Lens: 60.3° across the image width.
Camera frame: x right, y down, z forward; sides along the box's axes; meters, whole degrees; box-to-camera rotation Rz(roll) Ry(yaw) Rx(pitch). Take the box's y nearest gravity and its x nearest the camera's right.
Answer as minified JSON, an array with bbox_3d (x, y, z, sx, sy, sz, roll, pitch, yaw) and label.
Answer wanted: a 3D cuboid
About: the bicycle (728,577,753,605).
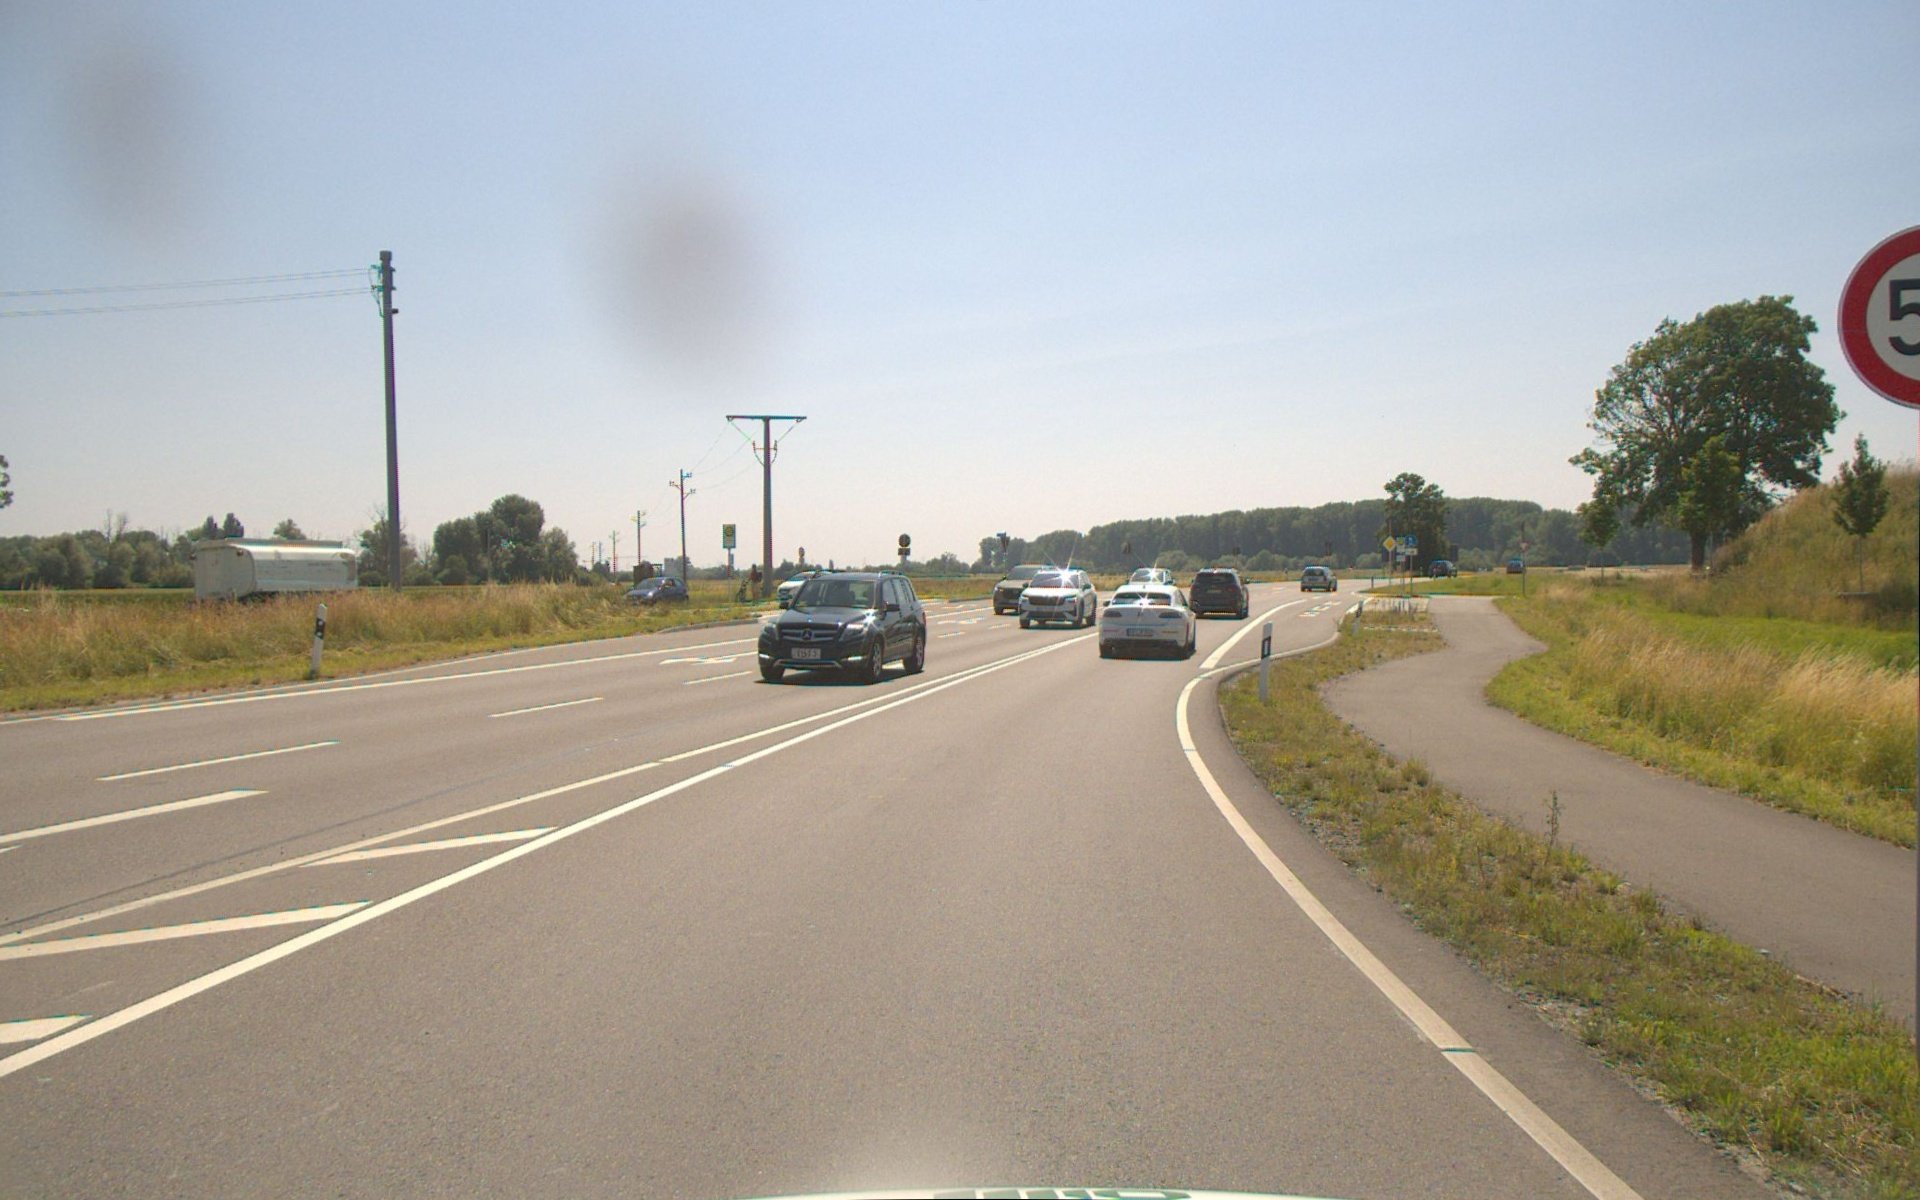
[{"bbox_3d":[-10.150,-0.403,76.630,0.481,1.270,1.511,1,0,21],"label":"bicycle"}]

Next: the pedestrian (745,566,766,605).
[{"bbox_3d":[-9.499,-0.674,76.790,0.596,1.816,0.846,1,0,22],"label":"pedestrian"}]

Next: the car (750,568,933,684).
[{"bbox_3d":[-1.773,0.327,26.267,1.826,1.679,4.331,0,1,11],"label":"car"}]

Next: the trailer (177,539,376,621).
[{"bbox_3d":[-22.153,-0.691,54.008,2.621,2.498,6.388,0,1,16],"label":"trailer"}]

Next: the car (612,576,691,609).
[{"bbox_3d":[-13.432,-0.318,72.144,1.639,1.411,3.839,1,0,21],"label":"car"}]

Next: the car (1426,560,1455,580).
[{"bbox_3d":[41.573,-2.591,143.036,1.763,1.502,4.412,-3,-2,24],"label":"car"}]

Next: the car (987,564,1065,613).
[{"bbox_3d":[2.431,-0.447,59.825,1.920,1.679,4.794,0,1,13],"label":"car"}]

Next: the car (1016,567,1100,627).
[{"bbox_3d":[3.001,-0.115,49.621,1.838,1.679,4.848,1,1,11],"label":"car"}]

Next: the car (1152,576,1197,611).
[{"bbox_3d":[10.137,-0.319,77.896,1.695,1.582,4.384,1,1,13],"label":"car"}]

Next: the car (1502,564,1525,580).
[{"bbox_3d":[60.761,-3.066,181.545,1.765,1.548,3.877,-4,-1,28],"label":"car"}]

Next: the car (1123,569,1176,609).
[{"bbox_3d":[7.913,-0.475,68.648,1.695,1.582,4.384,1,1,13],"label":"car"}]

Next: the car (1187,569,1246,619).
[{"bbox_3d":[9.072,-0.186,58.335,1.893,1.645,4.382,-2,-1,10],"label":"car"}]

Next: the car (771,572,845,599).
[{"bbox_3d":[-7.878,-0.742,86.169,1.662,1.355,4.023,1,1,35],"label":"car"}]

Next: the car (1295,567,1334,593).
[{"bbox_3d":[20.968,-1.189,97.702,1.762,1.453,4.095,2,2,18],"label":"car"}]

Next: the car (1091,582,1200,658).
[{"bbox_3d":[3.970,0.393,34.741,1.808,1.458,4.612,1,0,12],"label":"car"}]
